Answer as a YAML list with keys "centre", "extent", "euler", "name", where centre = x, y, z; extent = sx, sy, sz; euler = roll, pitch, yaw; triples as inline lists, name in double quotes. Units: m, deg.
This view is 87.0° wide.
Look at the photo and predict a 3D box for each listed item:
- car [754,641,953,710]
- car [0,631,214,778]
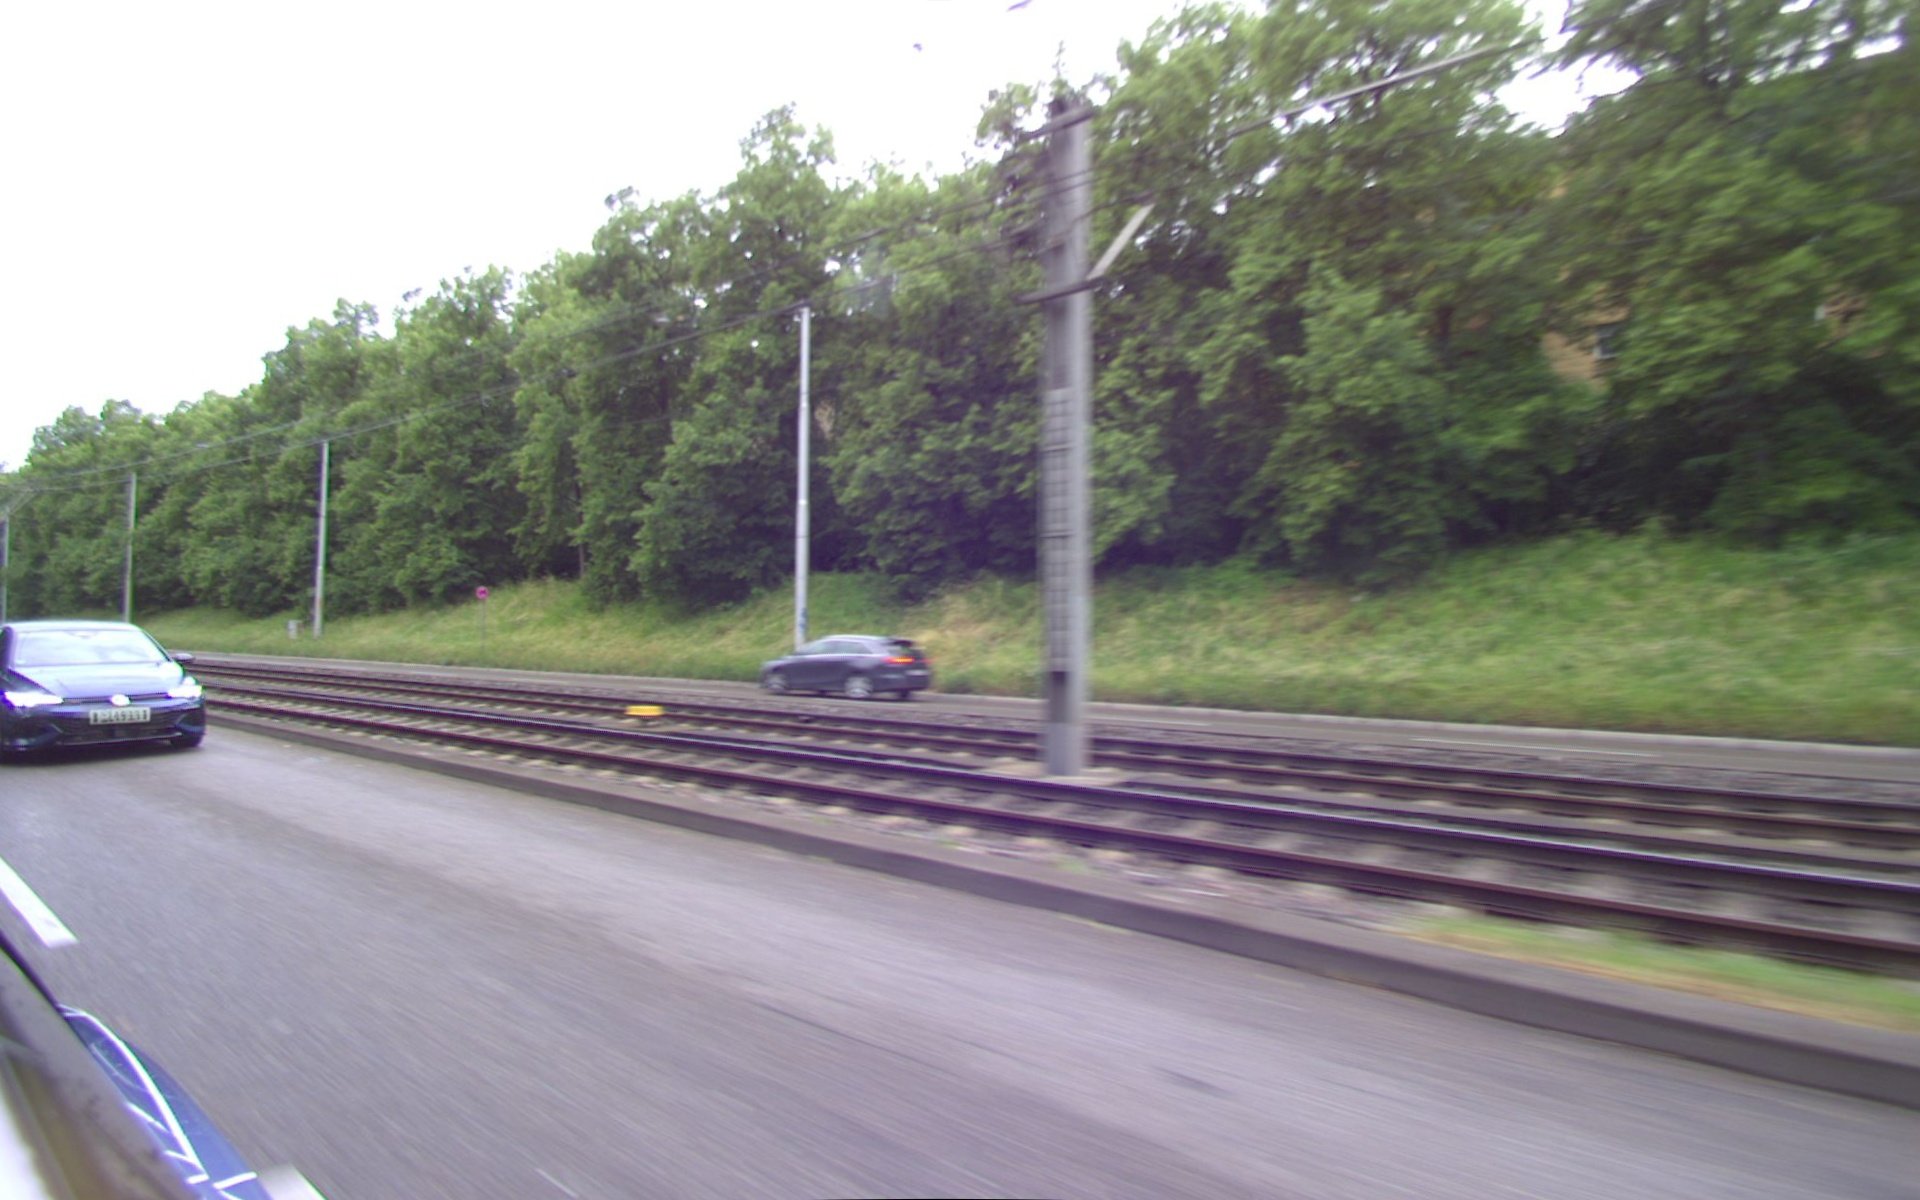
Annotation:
- centre: [-2.535, 1.752, 23.736]
  extent: [4.421, 1.442, 1.976]
  euler: [-1, -5, 36]
  name: "car"
- centre: [-10.397, 1.079, 11.833]
  extent: [4.344, 1.389, 1.789]
  euler: [-2, -2, 41]
  name: "car"
